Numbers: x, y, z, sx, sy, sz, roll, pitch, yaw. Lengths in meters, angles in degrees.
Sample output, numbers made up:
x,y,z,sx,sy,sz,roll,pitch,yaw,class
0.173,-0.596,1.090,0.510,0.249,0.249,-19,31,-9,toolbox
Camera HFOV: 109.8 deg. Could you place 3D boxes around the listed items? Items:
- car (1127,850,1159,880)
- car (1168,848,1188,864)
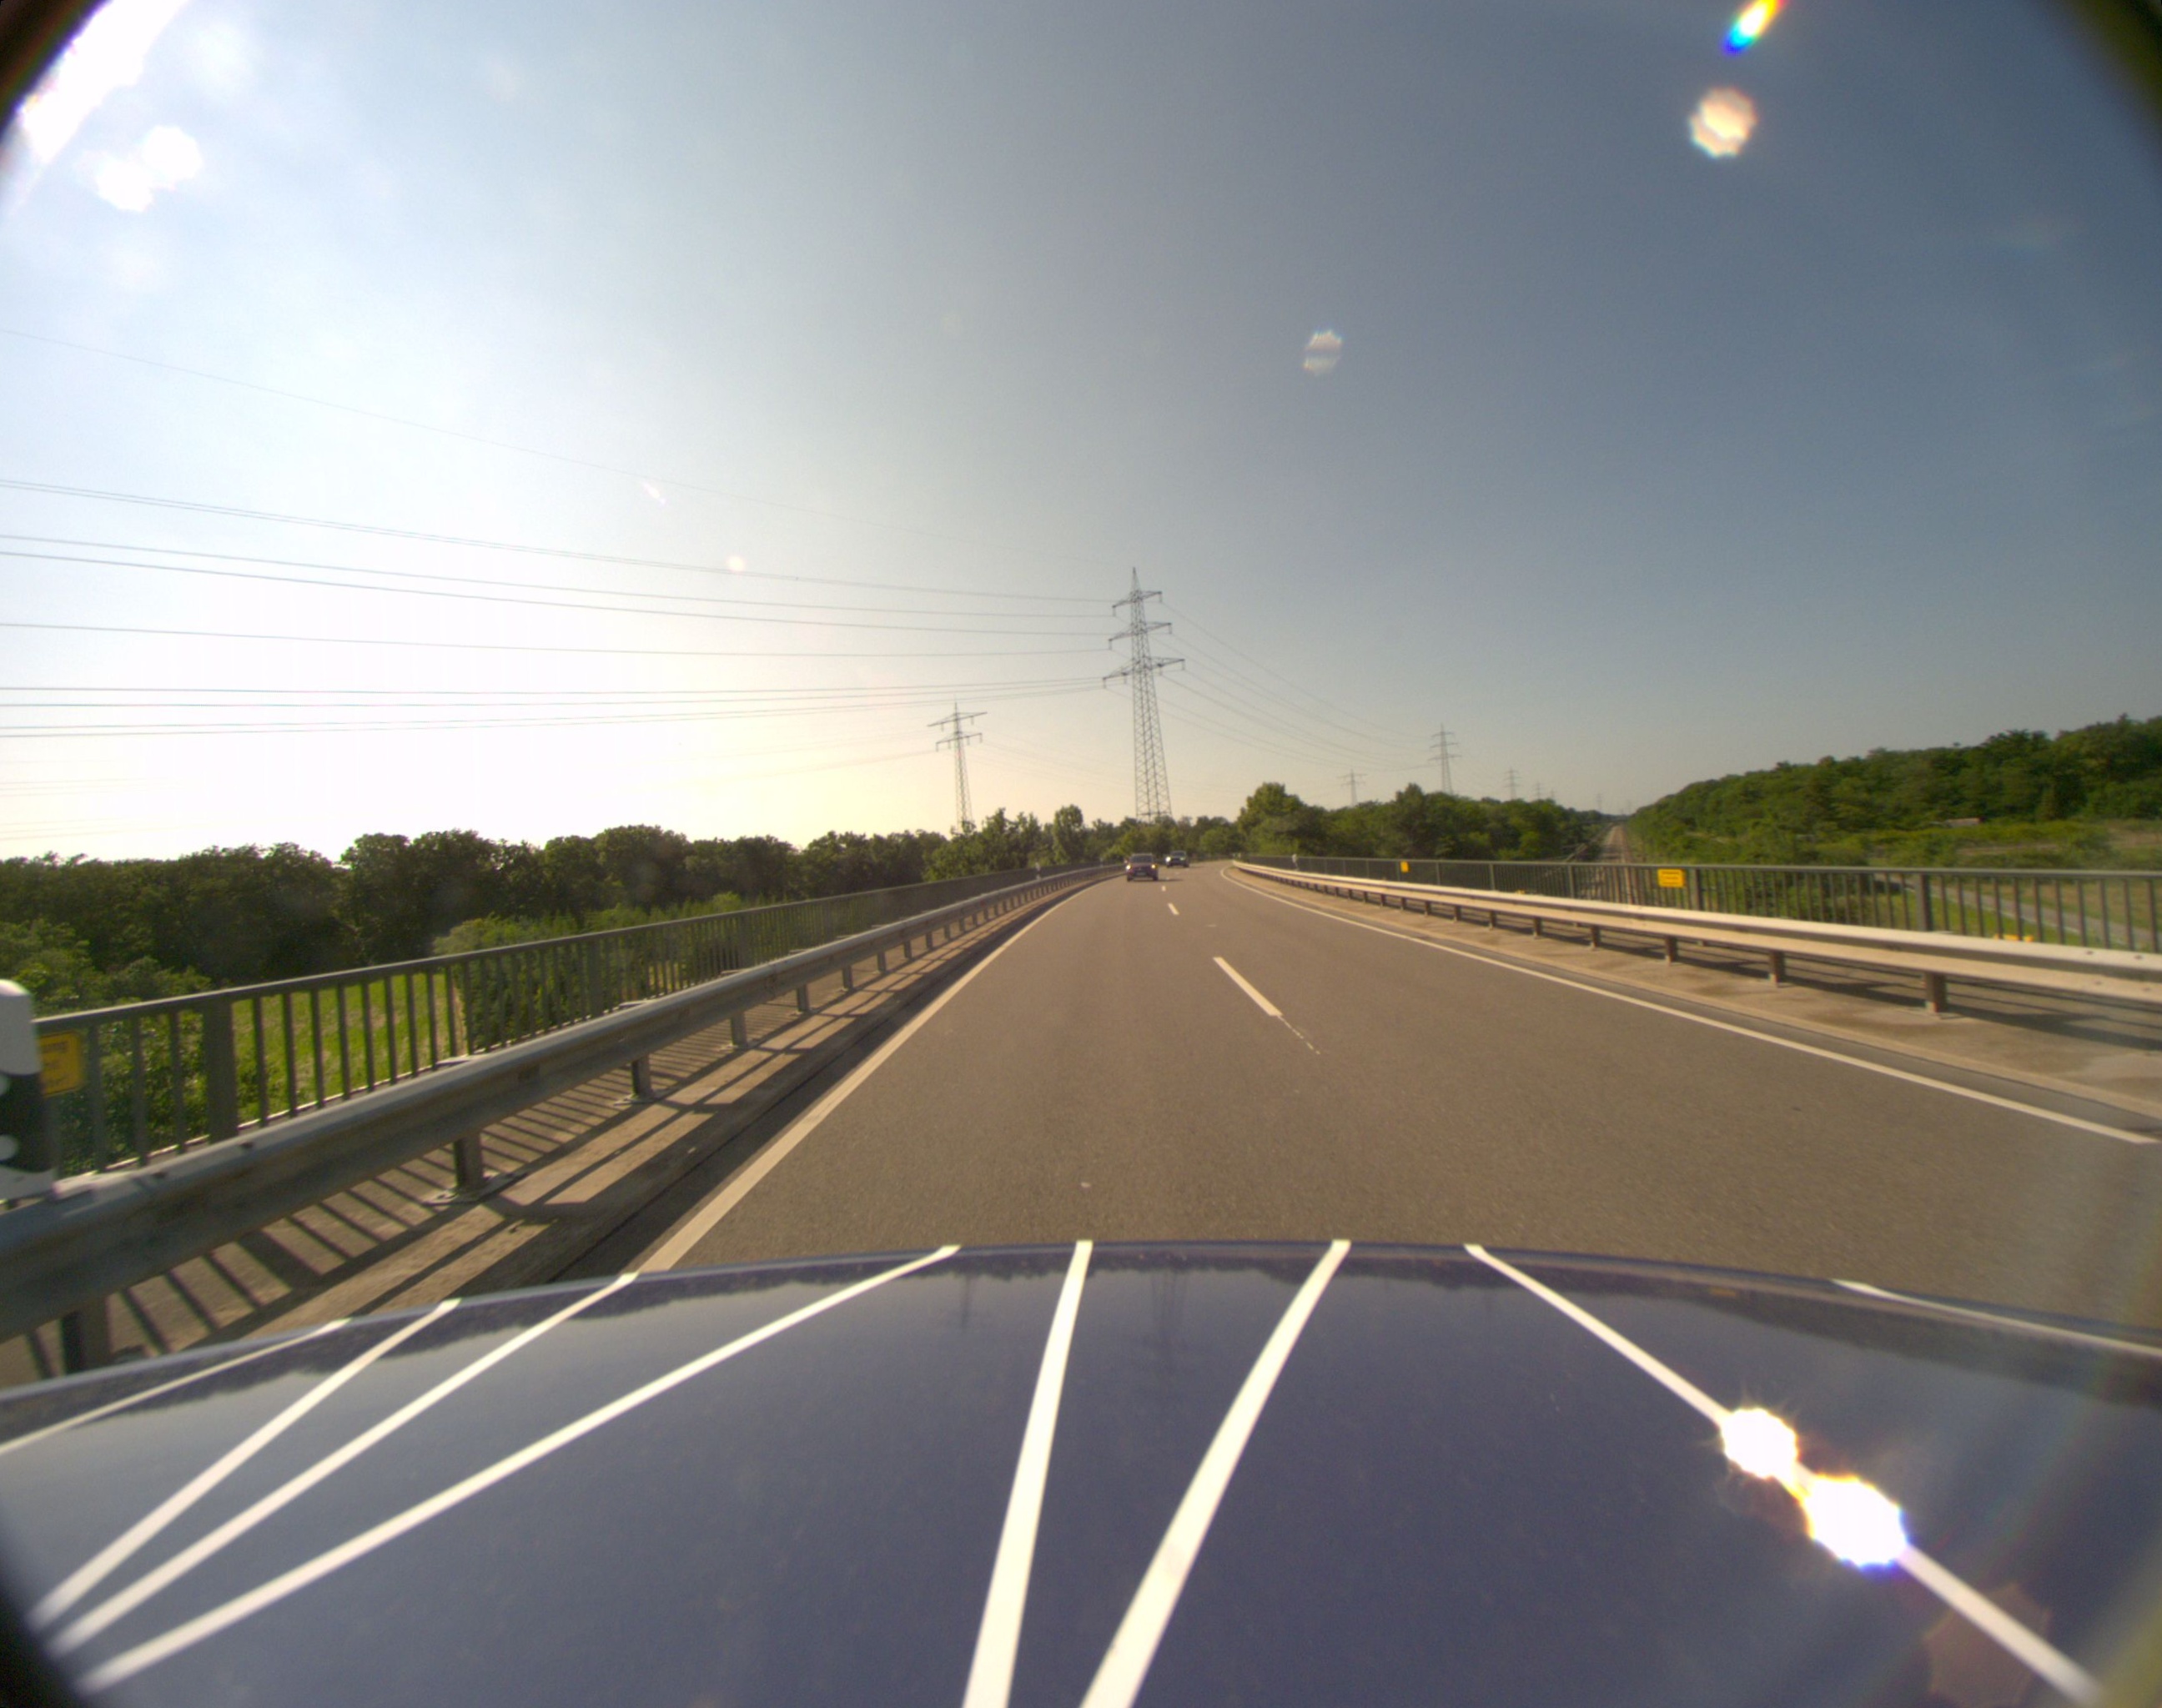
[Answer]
x,y,z,sx,sy,sz,roll,pitch,yaw,class
3.509,0.594,42.668,1.606,1.486,4.001,-2,1,6,car
9.726,0.171,76.280,1.605,1.486,4.003,-2,1,12,car
